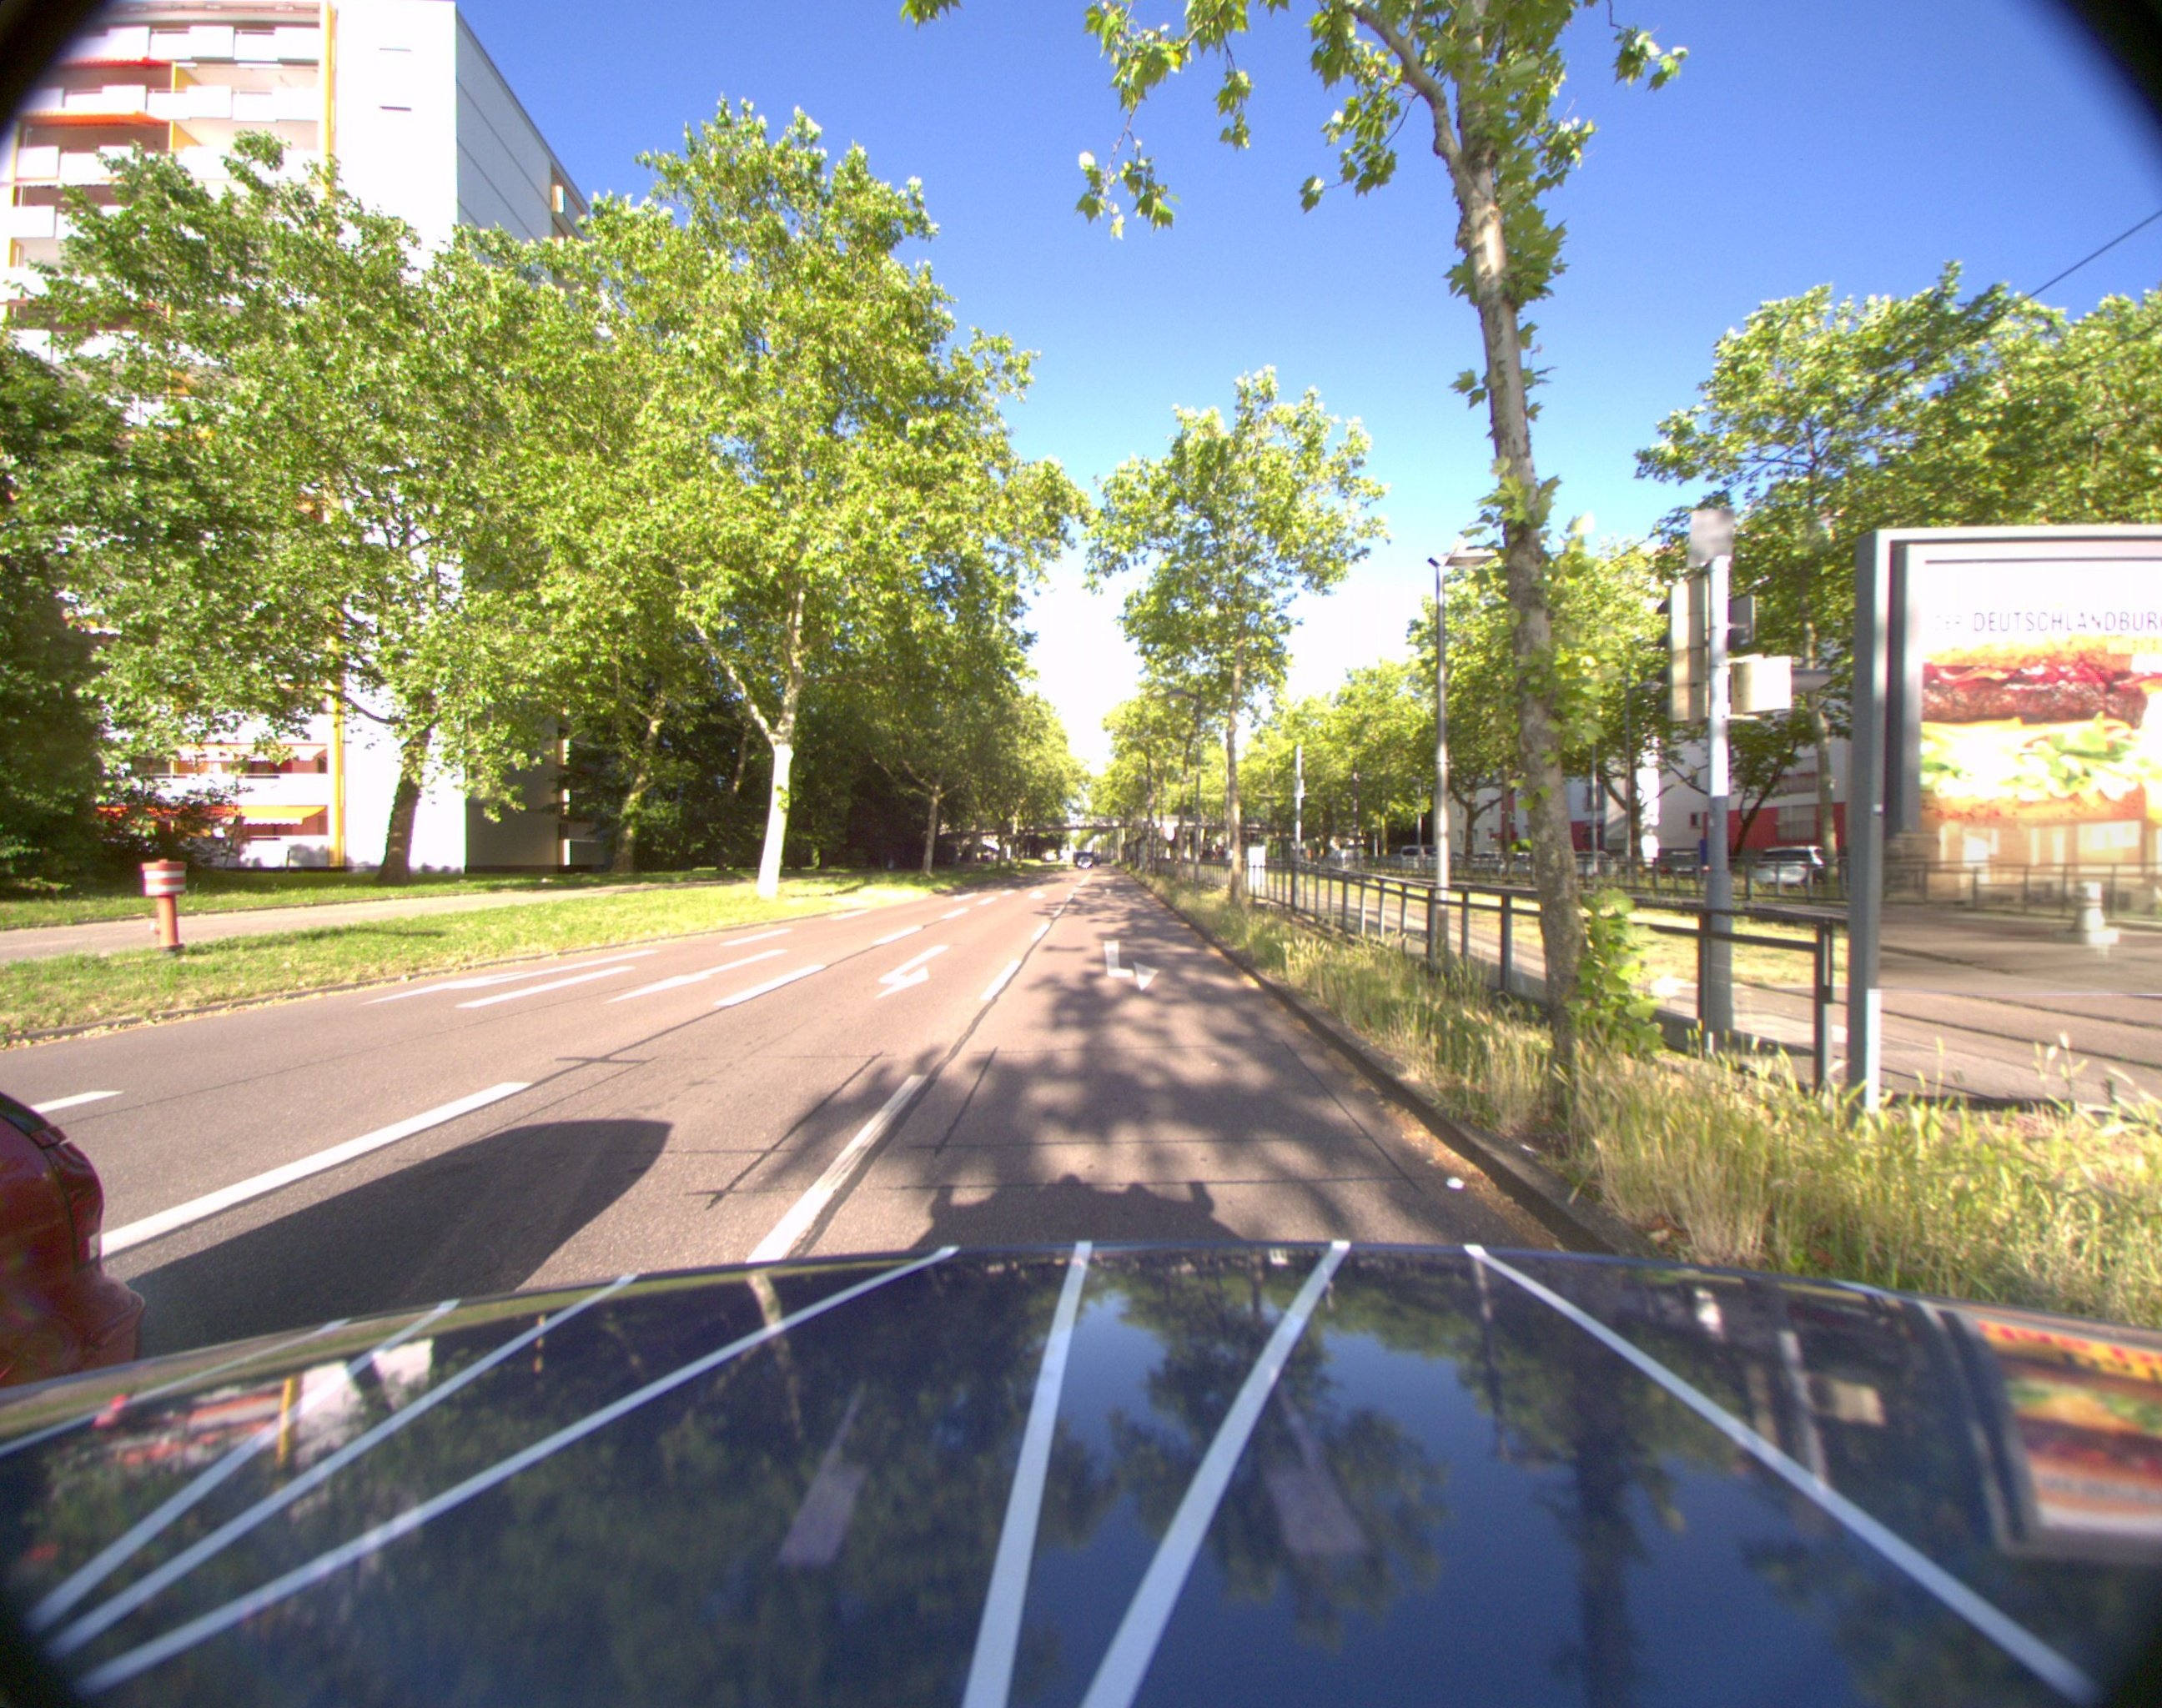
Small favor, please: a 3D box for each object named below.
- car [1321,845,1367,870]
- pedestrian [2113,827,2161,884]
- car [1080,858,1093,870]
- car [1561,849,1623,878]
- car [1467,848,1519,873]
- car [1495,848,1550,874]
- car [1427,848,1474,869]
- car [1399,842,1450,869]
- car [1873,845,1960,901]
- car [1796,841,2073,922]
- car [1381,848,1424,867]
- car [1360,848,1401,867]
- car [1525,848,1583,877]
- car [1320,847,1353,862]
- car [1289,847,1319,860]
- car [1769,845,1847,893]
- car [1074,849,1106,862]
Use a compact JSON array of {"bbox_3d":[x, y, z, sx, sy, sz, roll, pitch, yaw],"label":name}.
[{"bbox_3d":[20.674,0.261,59.967,1.832,1.811,4.902,-2,0,-1],"label":"car"},{"bbox_3d":[33.010,0.041,23.630,0.764,1.723,0.786,-2,1,-1],"label":"pedestrian"},{"bbox_3d":[0.625,1.263,96.193,1.580,1.395,3.638,-2,0,0],"label":"car"},{"bbox_3d":[25.381,0.454,37.693,3.811,1.348,1.652,-2,0,-42],"label":"car"},{"bbox_3d":[25.850,0.404,47.674,3.811,1.433,1.652,-2,0,-42],"label":"car"},{"bbox_3d":[26.097,0.413,44.859,3.811,1.433,1.652,-2,0,-42],"label":"car"},{"bbox_3d":[26.301,0.317,54.027,3.811,1.433,1.652,-2,0,-42],"label":"car"},{"bbox_3d":[25.817,0.097,57.025,4.330,1.863,1.836,-2,0,-42],"label":"car"},{"bbox_3d":[25.242,0.529,22.962,3.811,1.501,1.652,-2,0,-42],"label":"car"},{"bbox_3d":[19.410,0.562,17.625,1.655,1.609,4.294,-2,0,1],"label":"car"},{"bbox_3d":[25.728,0.277,60.747,3.811,1.433,1.652,-2,0,-42],"label":"car"},{"bbox_3d":[24.942,0.280,63.204,3.811,1.433,1.652,-2,0,-42],"label":"car"},{"bbox_3d":[25.862,0.449,41.474,3.811,1.433,1.652,-2,0,-42],"label":"car"},{"bbox_3d":[26.785,0.055,79.620,3.811,1.433,1.652,-2,0,-42],"label":"car"},{"bbox_3d":[26.438,-0.037,89.970,3.811,1.433,1.652,-2,0,-42],"label":"car"},{"bbox_3d":[25.356,0.494,26.470,3.811,1.501,1.652,-2,0,-42],"label":"car"},{"bbox_3d":[1.352,0.206,114.524,4.707,1.924,1.911,-1,0,40],"label":"car"}]
